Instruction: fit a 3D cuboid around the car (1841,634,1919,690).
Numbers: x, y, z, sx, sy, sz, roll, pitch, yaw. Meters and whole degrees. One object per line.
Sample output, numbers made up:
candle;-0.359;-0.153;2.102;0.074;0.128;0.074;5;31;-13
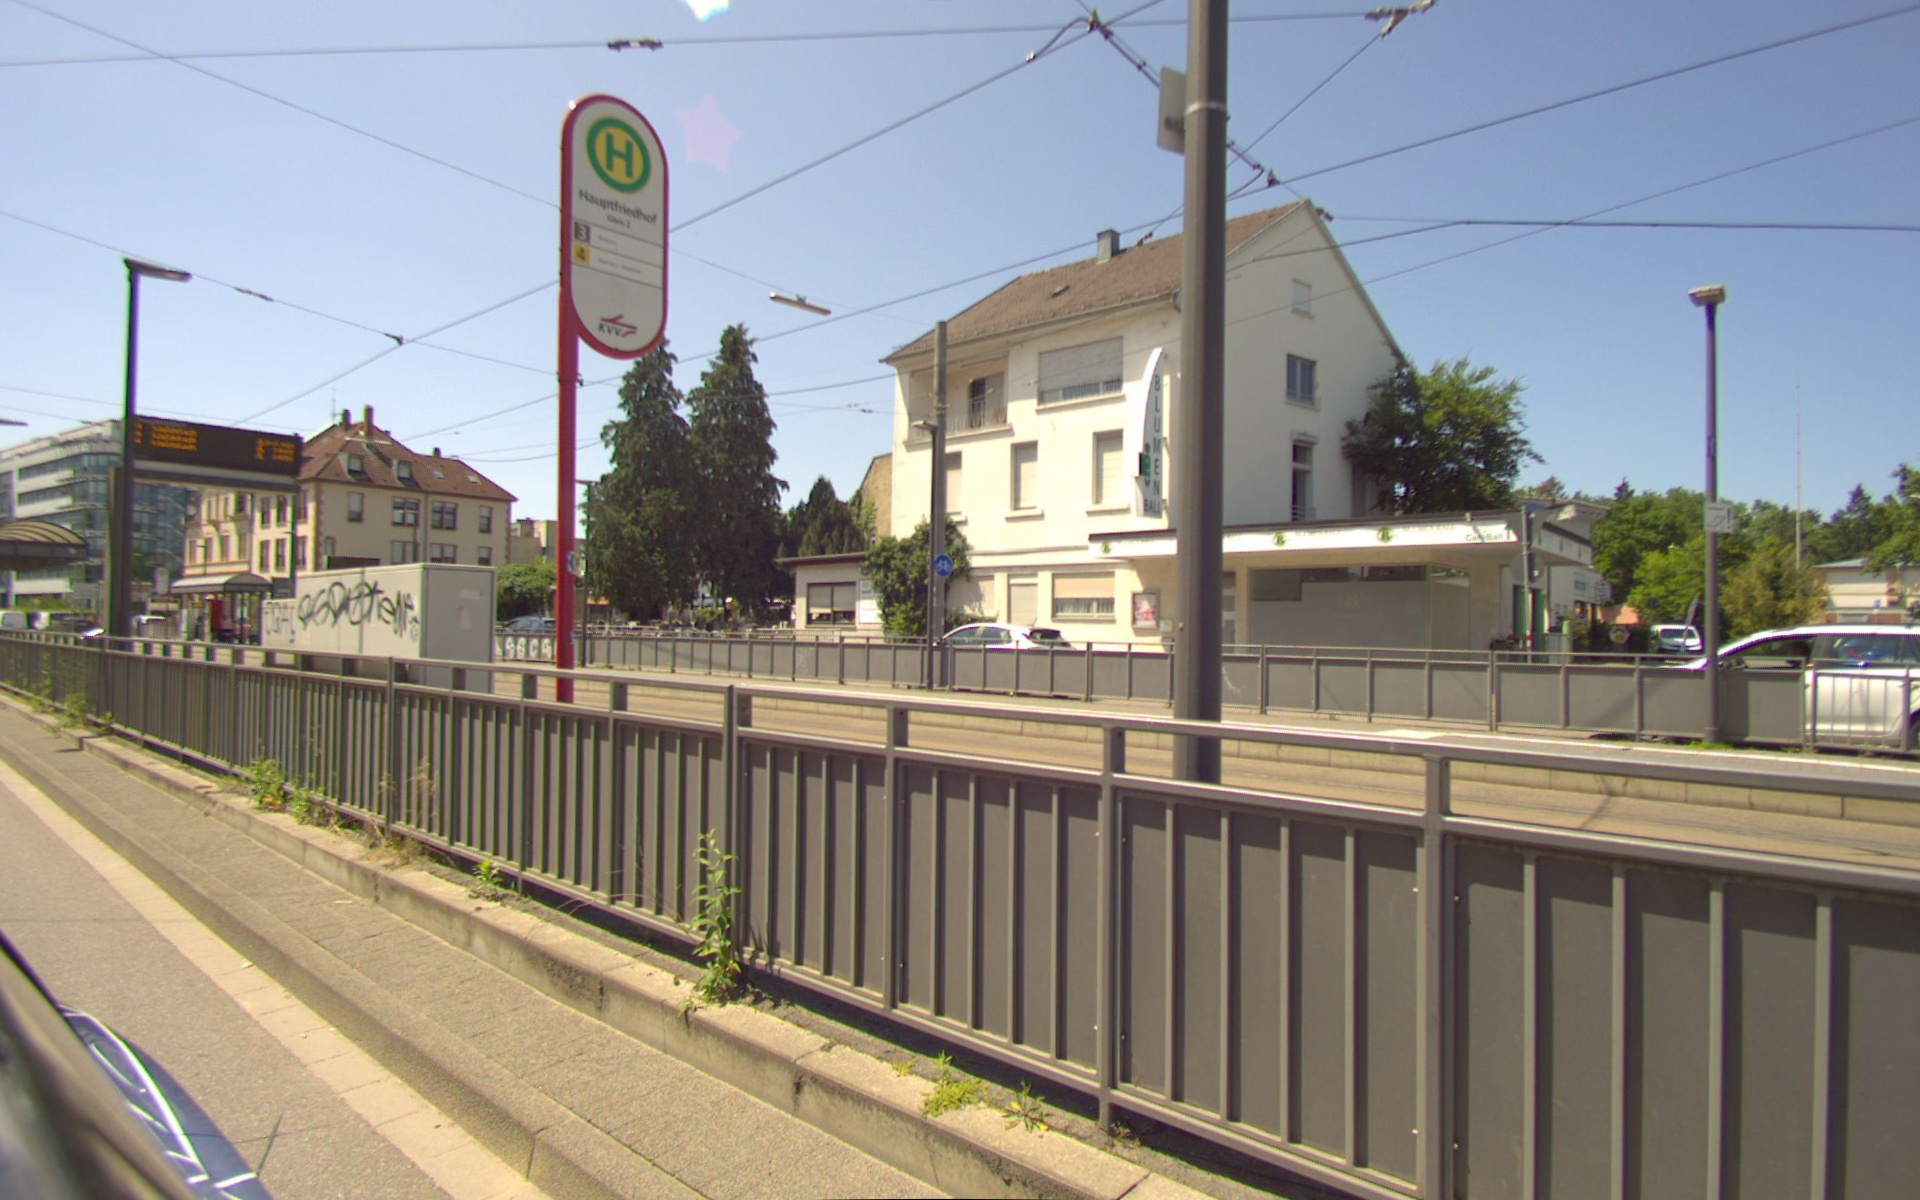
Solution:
car;24.917;1.656;27.286;1.644;1.380;3.759;-1;-3;42

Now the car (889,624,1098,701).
car;0.598;1.204;20.308;4.053;1.373;1.797;-1;-4;45

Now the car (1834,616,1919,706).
car;17.943;1.087;19.079;3.899;1.463;1.826;-1;0;-43

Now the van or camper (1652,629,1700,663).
van or camper;34.147;2.166;48.331;1.686;1.578;3.783;-1;-2;33

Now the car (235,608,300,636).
car;-36.642;1.175;53.511;4.173;1.406;1.799;-1;-2;41

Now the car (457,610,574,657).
car;-14.696;1.080;33.341;4.477;1.453;1.836;-1;-2;42

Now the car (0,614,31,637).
car;-76.044;2.025;80.538;4.681;1.830;1.842;0;-2;31

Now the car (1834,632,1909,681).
car;28.744;1.774;31.959;1.644;1.457;3.760;-1;-3;42

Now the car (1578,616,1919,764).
car;9.799;0.950;11.562;4.494;1.501;1.800;0;-2;39
